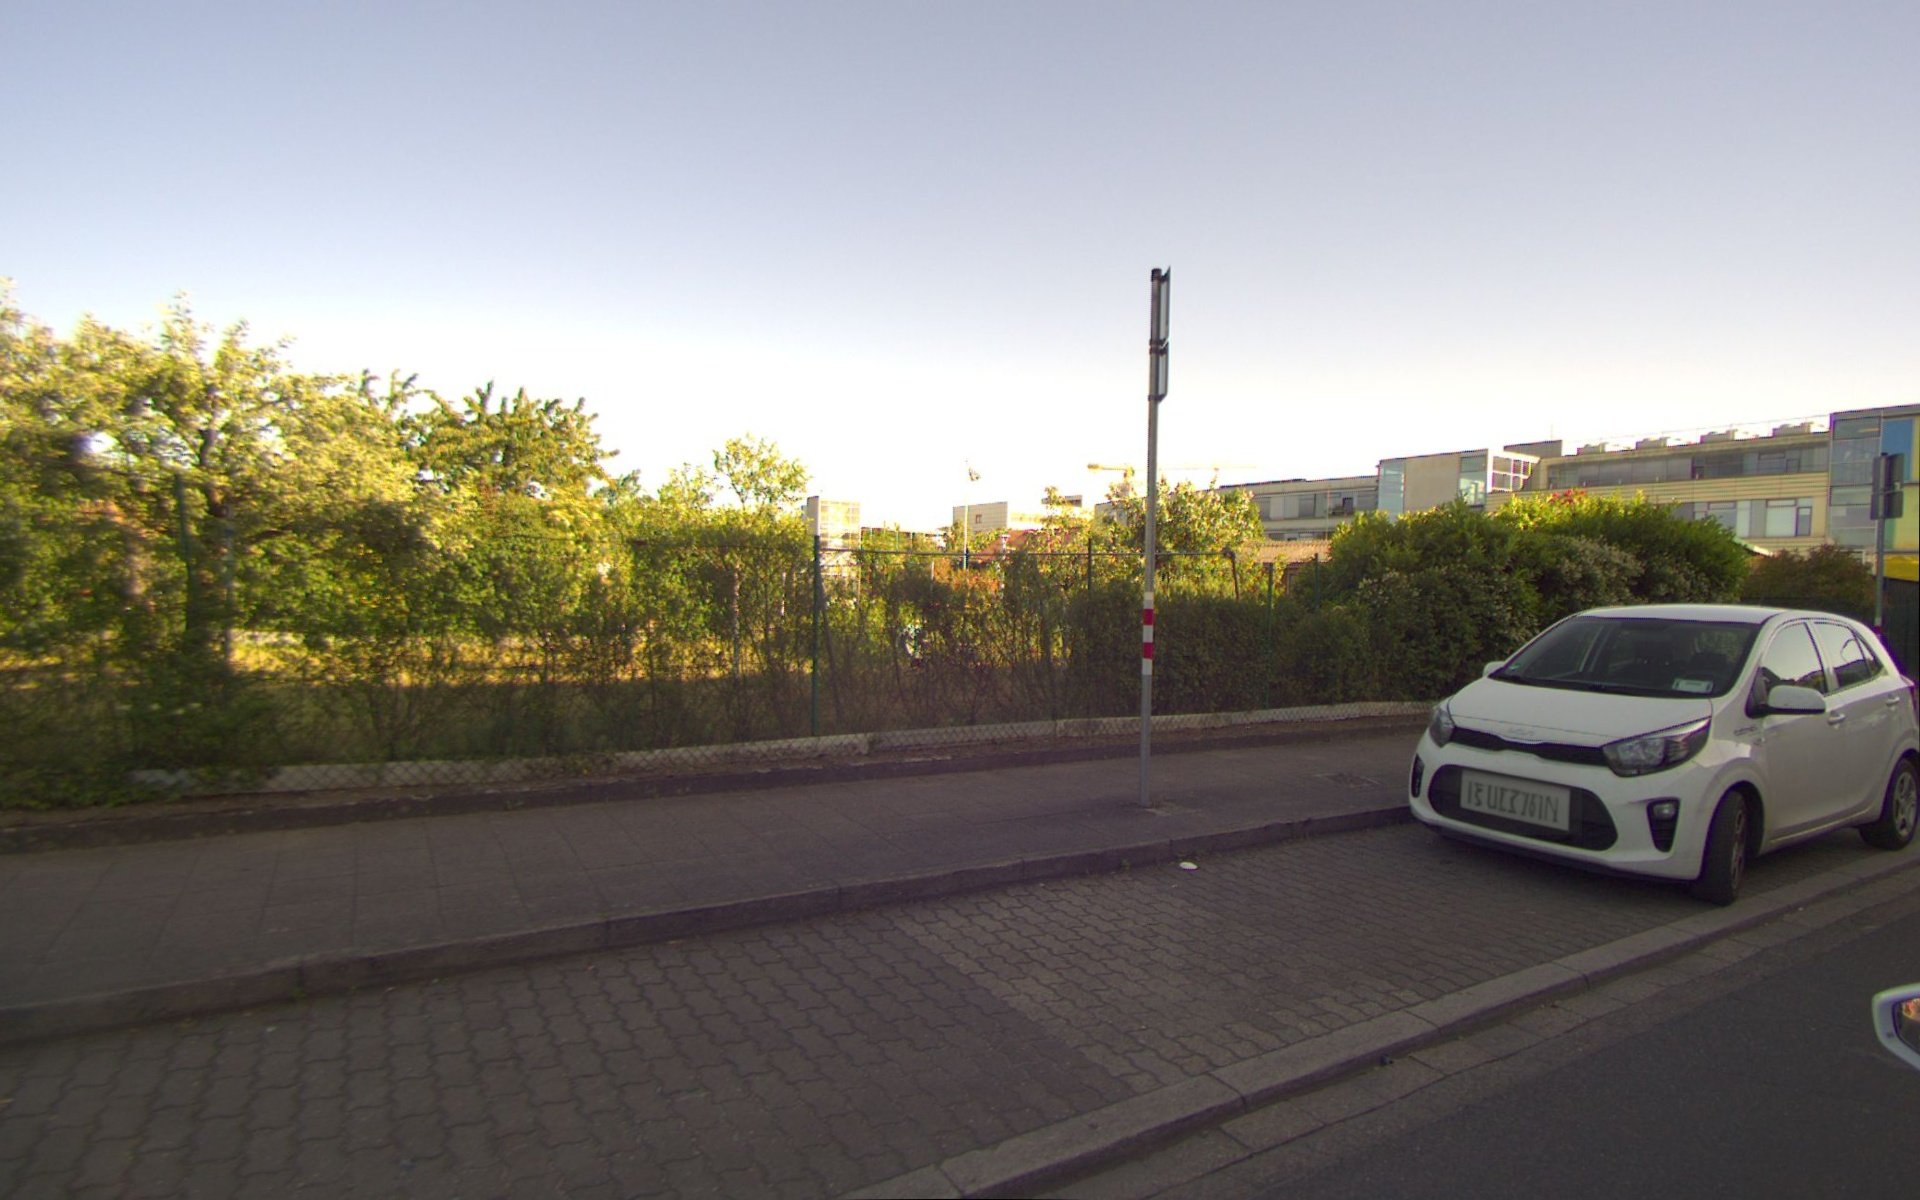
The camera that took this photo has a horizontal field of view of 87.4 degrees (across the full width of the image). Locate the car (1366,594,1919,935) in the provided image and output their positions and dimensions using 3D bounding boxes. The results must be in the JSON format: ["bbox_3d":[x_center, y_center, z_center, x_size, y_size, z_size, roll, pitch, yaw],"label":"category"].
[{"bbox_3d":[4.364,0.779,6.178,3.716,1.515,1.551,1,1,-32],"label":"car"}]
